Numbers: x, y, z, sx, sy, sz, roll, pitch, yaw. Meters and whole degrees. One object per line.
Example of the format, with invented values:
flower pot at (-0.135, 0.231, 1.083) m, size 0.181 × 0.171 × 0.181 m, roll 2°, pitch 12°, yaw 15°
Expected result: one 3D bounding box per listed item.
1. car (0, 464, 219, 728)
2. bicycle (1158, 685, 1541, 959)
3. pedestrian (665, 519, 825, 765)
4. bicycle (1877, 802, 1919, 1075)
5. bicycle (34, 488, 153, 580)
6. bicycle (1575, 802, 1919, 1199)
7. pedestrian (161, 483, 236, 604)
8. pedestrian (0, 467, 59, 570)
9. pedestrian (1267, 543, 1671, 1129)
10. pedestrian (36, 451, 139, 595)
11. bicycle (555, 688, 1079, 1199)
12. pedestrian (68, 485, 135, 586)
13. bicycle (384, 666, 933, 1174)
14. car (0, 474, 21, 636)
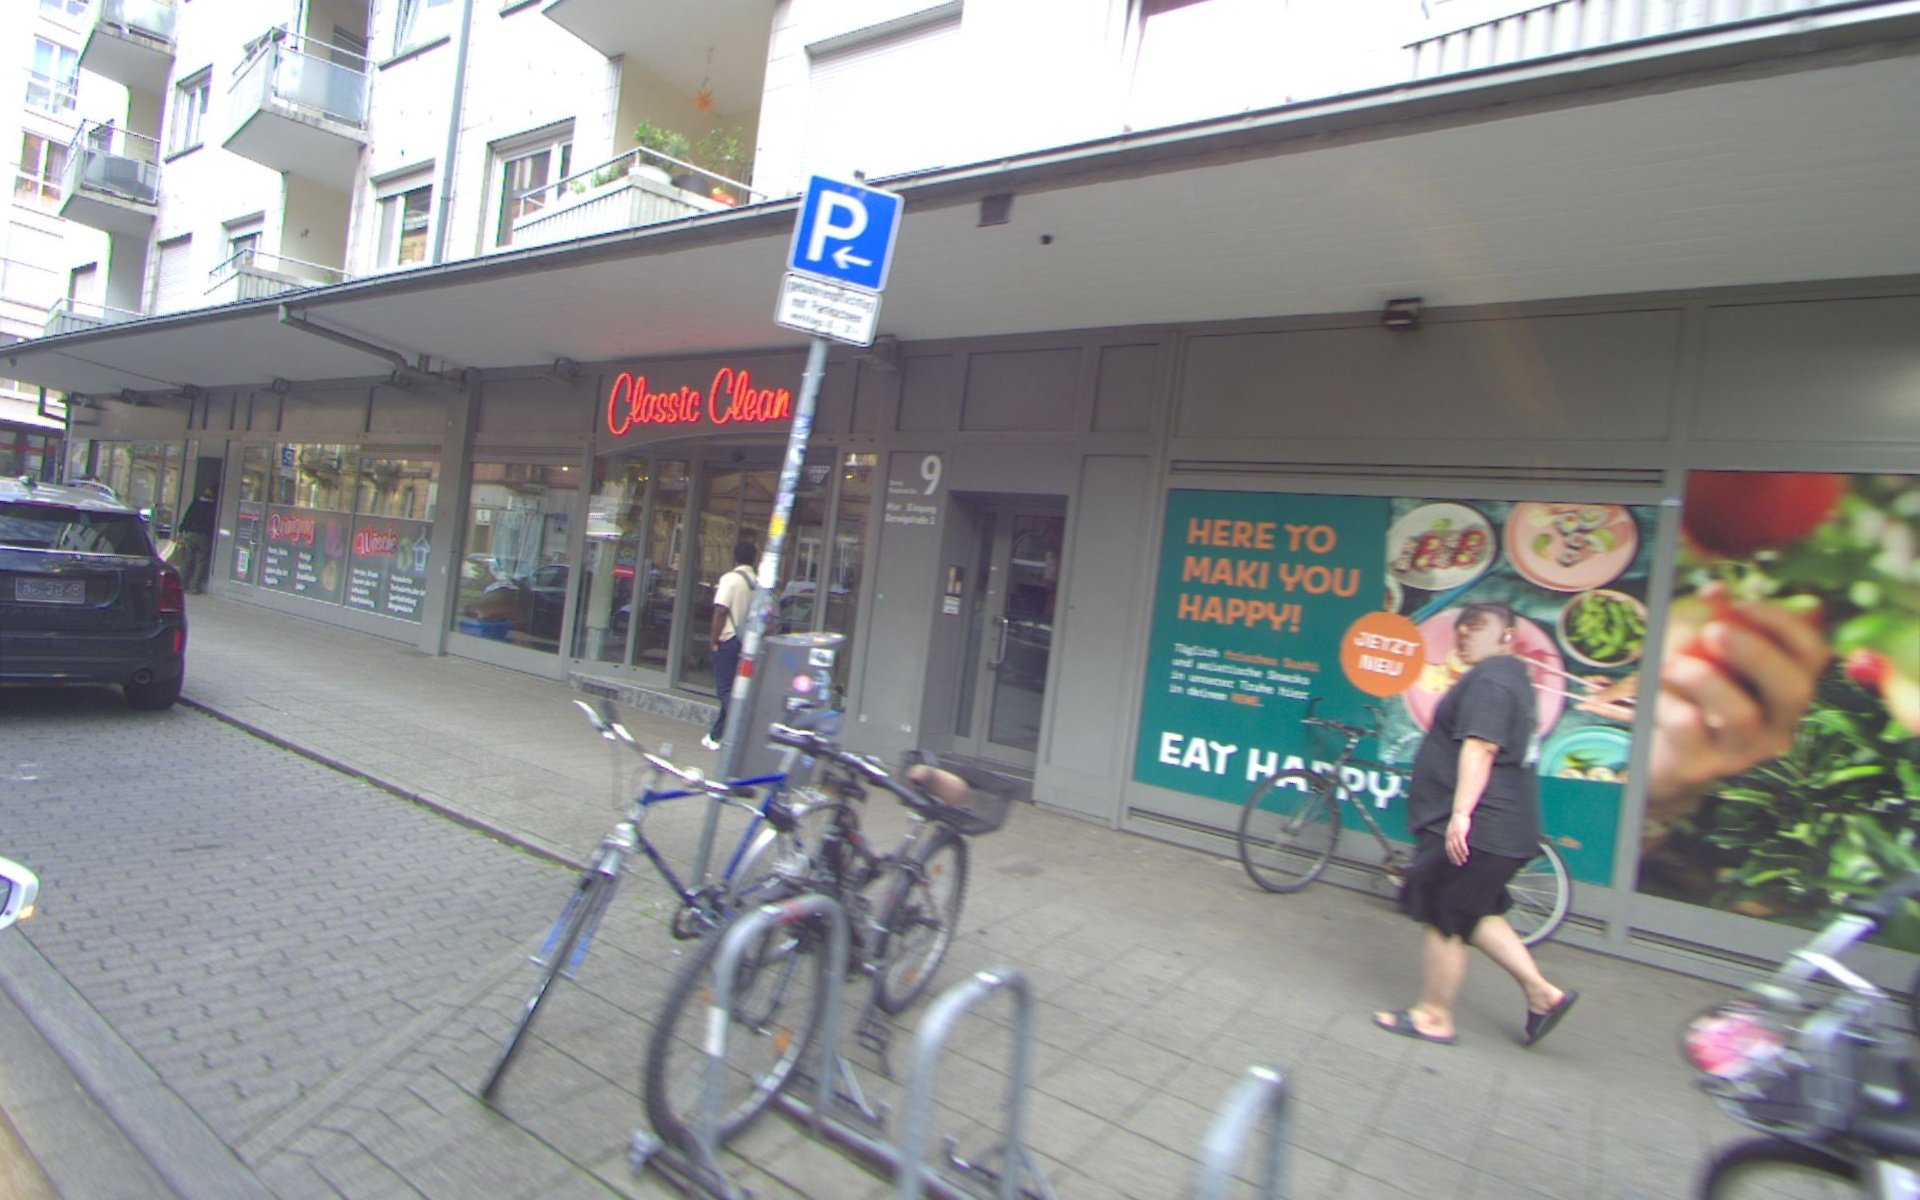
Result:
car at (-7.326, -0.202, 7.466) m, size 3.863 × 1.626 × 1.791 m, roll 7°, pitch 2°, yaw 36°
bicycle at (2.107, 1.118, 5.554) m, size 1.755 × 1.028 × 0.741 m, roll 7°, pitch 2°, yaw 35°
pedestrian at (-1.687, 0.312, 7.911) m, size 0.804 × 1.770 × 0.714 m, roll 8°, pitch 3°, yaw 33°
bicycle at (4.676, 1.452, 3.713) m, size 1.701 × 1.056 × 0.678 m, roll 6°, pitch 0°, yaw 15°
bicycle at (-14.756, -1.139, 17.106) m, size 2.460 × 1.307 × 0.918 m, roll 7°, pitch 1°, yaw 36°
bicycle at (1.394, 1.053, 1.377) m, size 0.893 × 1.140 × 1.883 m, roll 8°, pitch 2°, yaw 33°
pedestrian at (-12.652, -0.927, 16.727) m, size 0.701 × 1.883 × 0.640 m, roll 7°, pitch 0°, yaw -26°
pedestrian at (-15.832, -1.373, 16.877) m, size 0.769 × 1.608 × 0.824 m, roll 7°, pitch 0°, yaw 37°
pedestrian at (1.887, 0.748, 3.767) m, size 1.032 × 1.770 × 0.849 m, roll 8°, pitch 3°, yaw 33°
pedestrian at (-11.402, -1.005, 13.145) m, size 1.107 × 1.749 × 0.612 m, roll 8°, pitch 3°, yaw 30°
bicycle at (-0.253, 0.884, 3.013) m, size 0.559 × 1.084 × 1.791 m, roll 8°, pitch 2°, yaw 25°
pedestrian at (-14.651, -1.104, 17.167) m, size 0.769 × 1.609 × 0.643 m, roll 7°, pitch 2°, yaw 37°
bicycle at (-0.805, 0.815, 3.288) m, size 0.576 × 1.084 × 1.791 m, roll 8°, pitch 2°, yaw 25°
car at (-11.493, -0.689, 10.404) m, size 3.839 × 1.596 × 1.689 m, roll 7°, pitch 0°, yaw 34°
